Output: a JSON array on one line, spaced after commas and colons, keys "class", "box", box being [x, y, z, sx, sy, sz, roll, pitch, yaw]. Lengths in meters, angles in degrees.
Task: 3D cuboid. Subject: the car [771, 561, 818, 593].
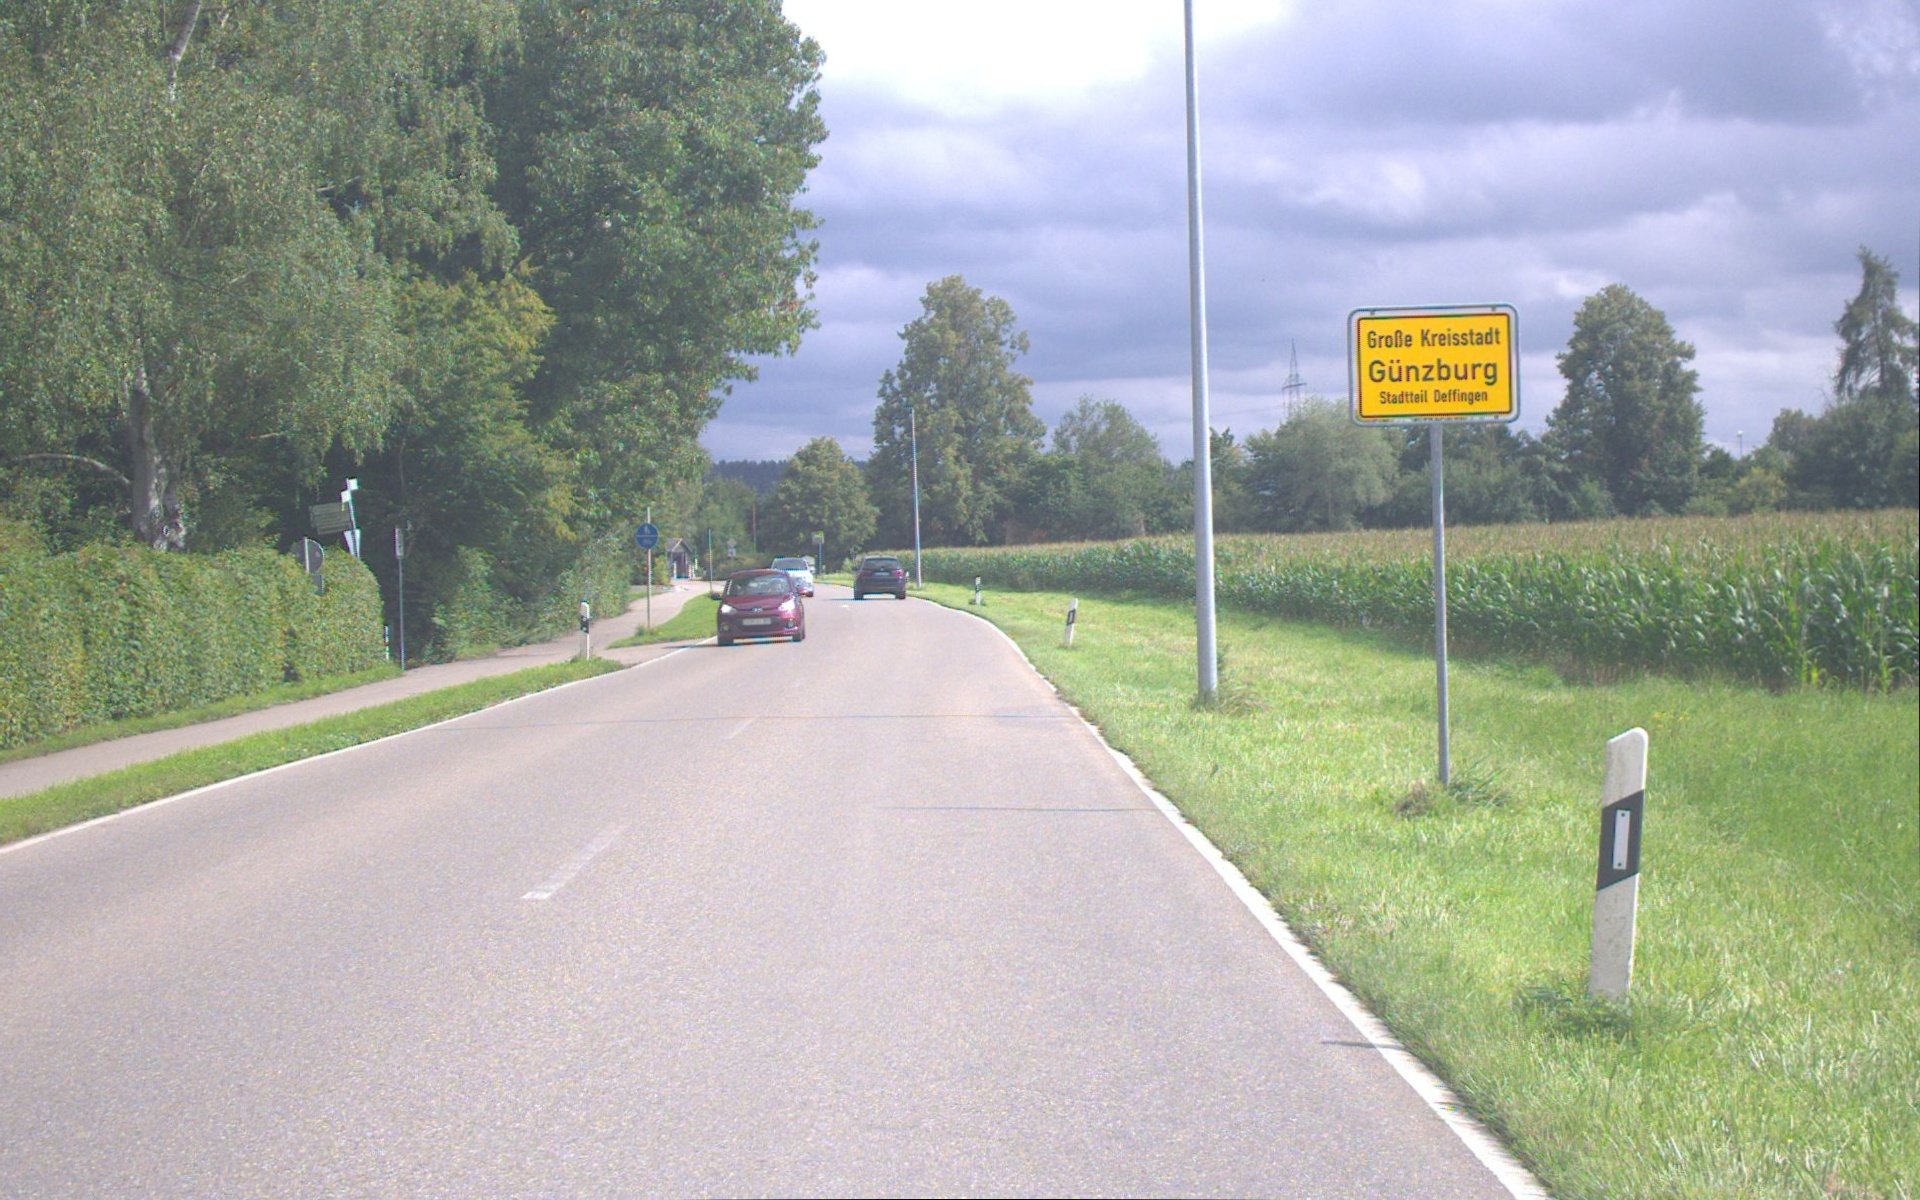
[{"class": "car", "box": [-6.820, -0.958, 141.699, 1.745, 1.218, 3.543, -2, 1, 0]}]

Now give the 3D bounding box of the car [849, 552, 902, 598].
[{"class": "car", "box": [-3.206, -0.975, 131.030, 1.906, 1.660, 4.000, -2, 1, -1]}]

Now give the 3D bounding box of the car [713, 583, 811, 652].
[{"class": "car", "box": [-3.930, 0.329, 68.694, 1.745, 1.218, 3.543, -2, 1, 0]}]
